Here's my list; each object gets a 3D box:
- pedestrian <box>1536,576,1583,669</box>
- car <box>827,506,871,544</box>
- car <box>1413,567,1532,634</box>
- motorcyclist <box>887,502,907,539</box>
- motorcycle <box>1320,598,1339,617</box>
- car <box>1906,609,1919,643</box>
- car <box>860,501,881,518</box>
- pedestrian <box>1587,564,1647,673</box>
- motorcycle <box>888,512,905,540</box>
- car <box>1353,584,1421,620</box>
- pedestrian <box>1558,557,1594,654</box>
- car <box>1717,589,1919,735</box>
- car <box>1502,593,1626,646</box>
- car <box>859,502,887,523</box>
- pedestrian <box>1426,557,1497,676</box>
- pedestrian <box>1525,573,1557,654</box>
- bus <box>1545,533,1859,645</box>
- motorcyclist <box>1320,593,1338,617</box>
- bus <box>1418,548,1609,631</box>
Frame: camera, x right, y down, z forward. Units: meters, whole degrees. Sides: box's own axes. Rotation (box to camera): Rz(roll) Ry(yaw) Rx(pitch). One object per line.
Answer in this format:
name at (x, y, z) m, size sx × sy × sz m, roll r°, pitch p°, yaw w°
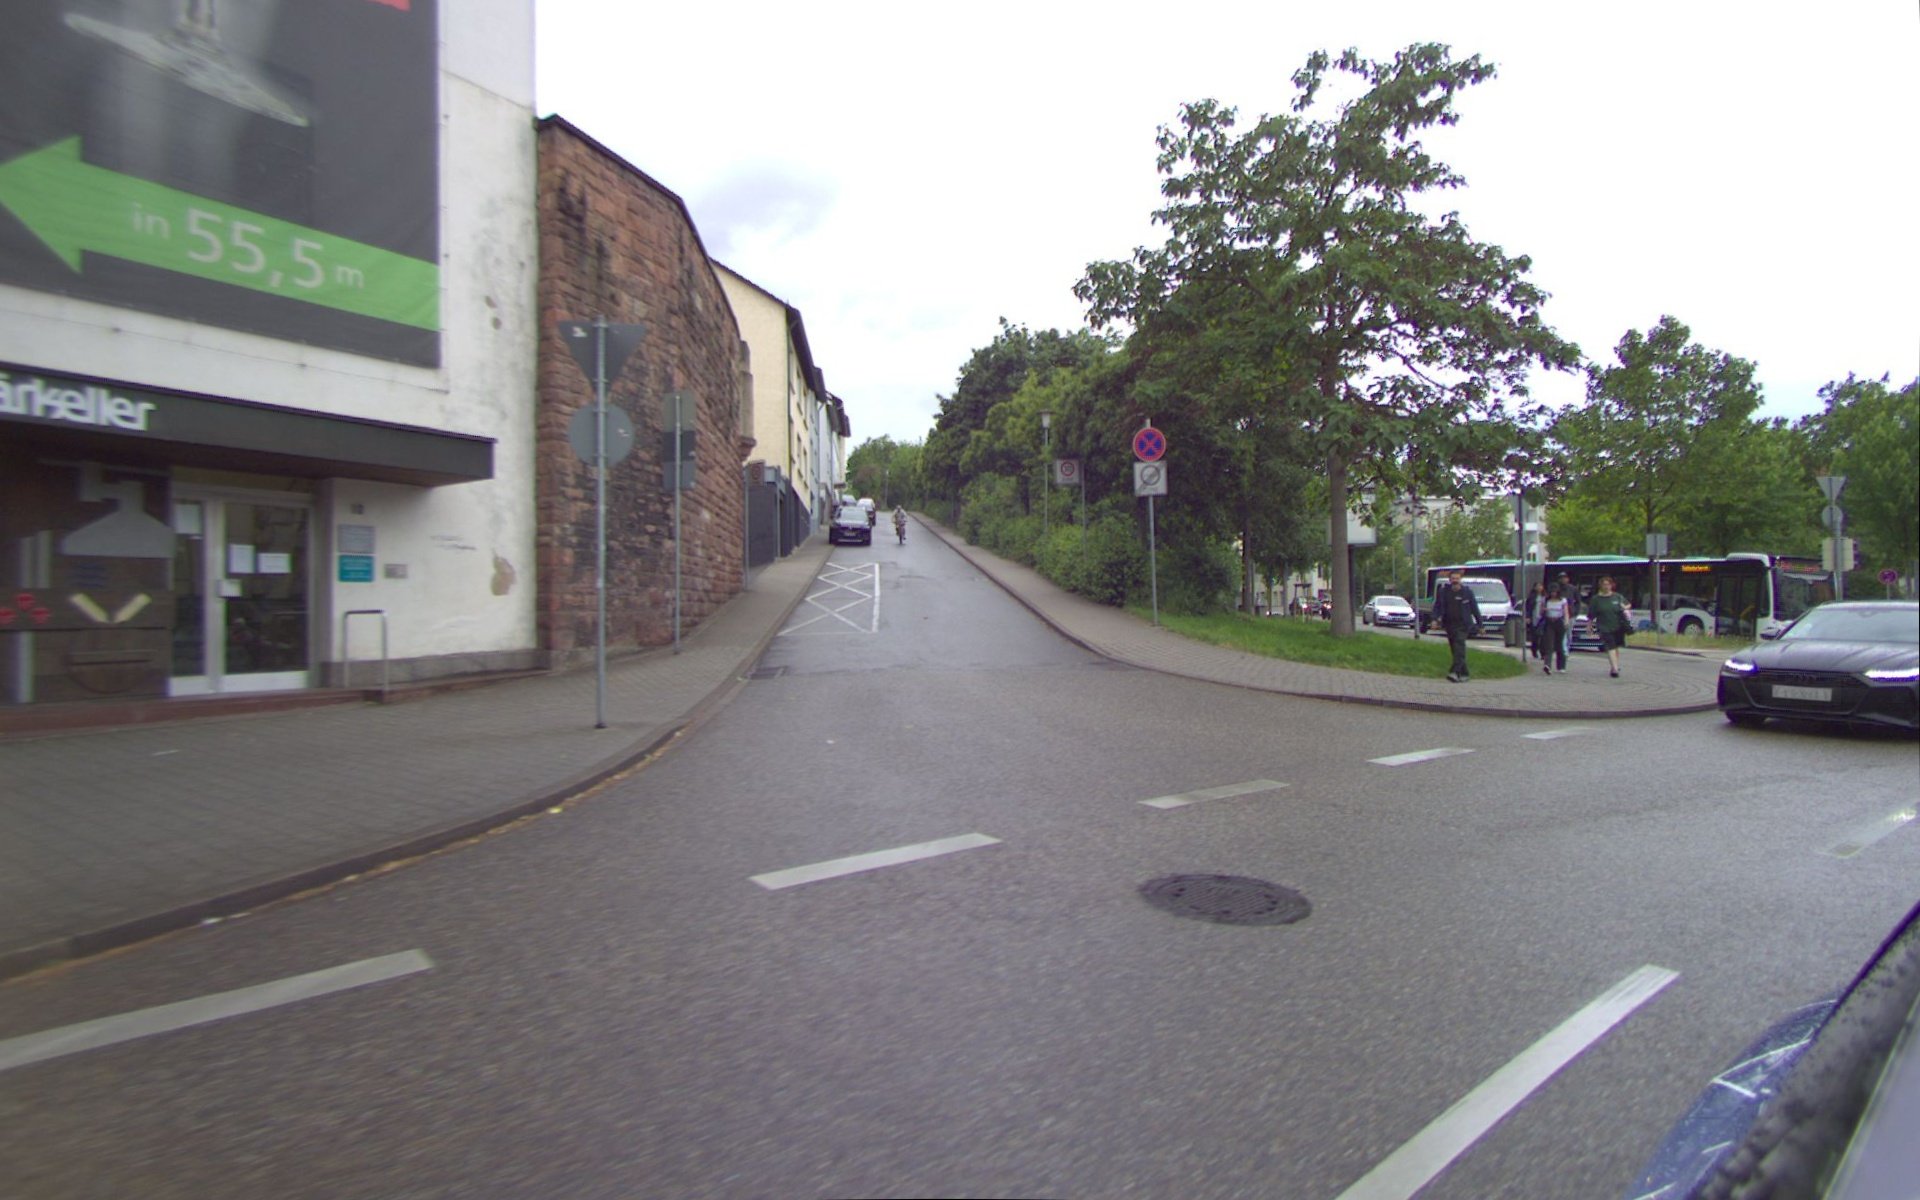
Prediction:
pedestrian at (10.777, 0.379, 18.195) m, size 0.599 × 1.619 × 0.697 m, roll 3°, pitch 2°, yaw 37°
car at (-4.993, -3.410, 45.635) m, size 1.868 × 1.553 × 4.010 m, roll 1°, pitch 6°, yaw -6°
car at (18.916, -0.032, 37.737) m, size 2.219 × 2.262 × 6.323 m, roll 0°, pitch 1°, yaw 10°
motorcyclist at (-2.923, -3.677, 46.776) m, size 0.819 × 1.663 × 0.971 m, roll 1°, pitch 5°, yaw -6°
motorcycle at (22.453, 0.470, 61.609) m, size 0.561 × 1.133 × 2.682 m, roll 0°, pitch 0°, yaw 9°
car at (43.034, 1.119, 43.053) m, size 4.175 × 1.459 × 1.859 m, roll 0°, pitch -1°, yaw -9°
car at (-8.020, -8.105, 90.409) m, size 1.737 × 1.327 × 4.010 m, roll 1°, pitch 6°, yaw -6°
pedestrian at (11.513, 0.303, 17.739) m, size 0.740 × 1.852 × 0.684 m, roll 3°, pitch 2°, yaw 40°
motorcycle at (-2.944, -3.442, 46.729) m, size 0.647 × 1.199 × 2.353 m, roll 1°, pitch 6°, yaw -6°
car at (20.978, 0.100, 49.942) m, size 1.967 × 1.673 × 4.863 m, roll 0°, pitch 0°, yaw 9°
pedestrian at (13.235, 0.102, 21.758) m, size 0.583 × 2.039 × 0.779 m, roll 1°, pitch 0°, yaw 29°
car at (10.937, 0.610, 11.837) m, size 4.275 × 1.422 × 1.899 m, roll 0°, pitch 1°, yaw -32°
car at (17.314, 0.521, 29.242) m, size 1.767 × 1.391 × 4.084 m, roll 0°, pitch 1°, yaw 11°
car at (-5.867, -5.893, 67.961) m, size 1.737 × 1.327 × 4.010 m, roll 1°, pitch 6°, yaw -6°
pedestrian at (7.472, 0.249, 15.074) m, size 0.947 × 1.707 × 0.571 m, roll 3°, pitch 0°, yaw -42°
pedestrian at (12.761, 0.288, 22.217) m, size 0.554 × 1.727 × 0.522 m, roll 1°, pitch 0°, yaw 33°
bus at (24.646, -0.386, 34.593) m, size 2.650 × 3.257 × 9.673 m, roll 1°, pitch 1°, yaw -8°
motorcyclist at (22.473, 0.307, 61.613) m, size 0.793 × 1.455 × 1.237 m, roll 0°, pitch -1°, yaw 9°
bus at (23.453, -0.461, 43.601) m, size 2.633 × 3.220 × 8.572 m, roll -1°, pitch 0°, yaw -7°
